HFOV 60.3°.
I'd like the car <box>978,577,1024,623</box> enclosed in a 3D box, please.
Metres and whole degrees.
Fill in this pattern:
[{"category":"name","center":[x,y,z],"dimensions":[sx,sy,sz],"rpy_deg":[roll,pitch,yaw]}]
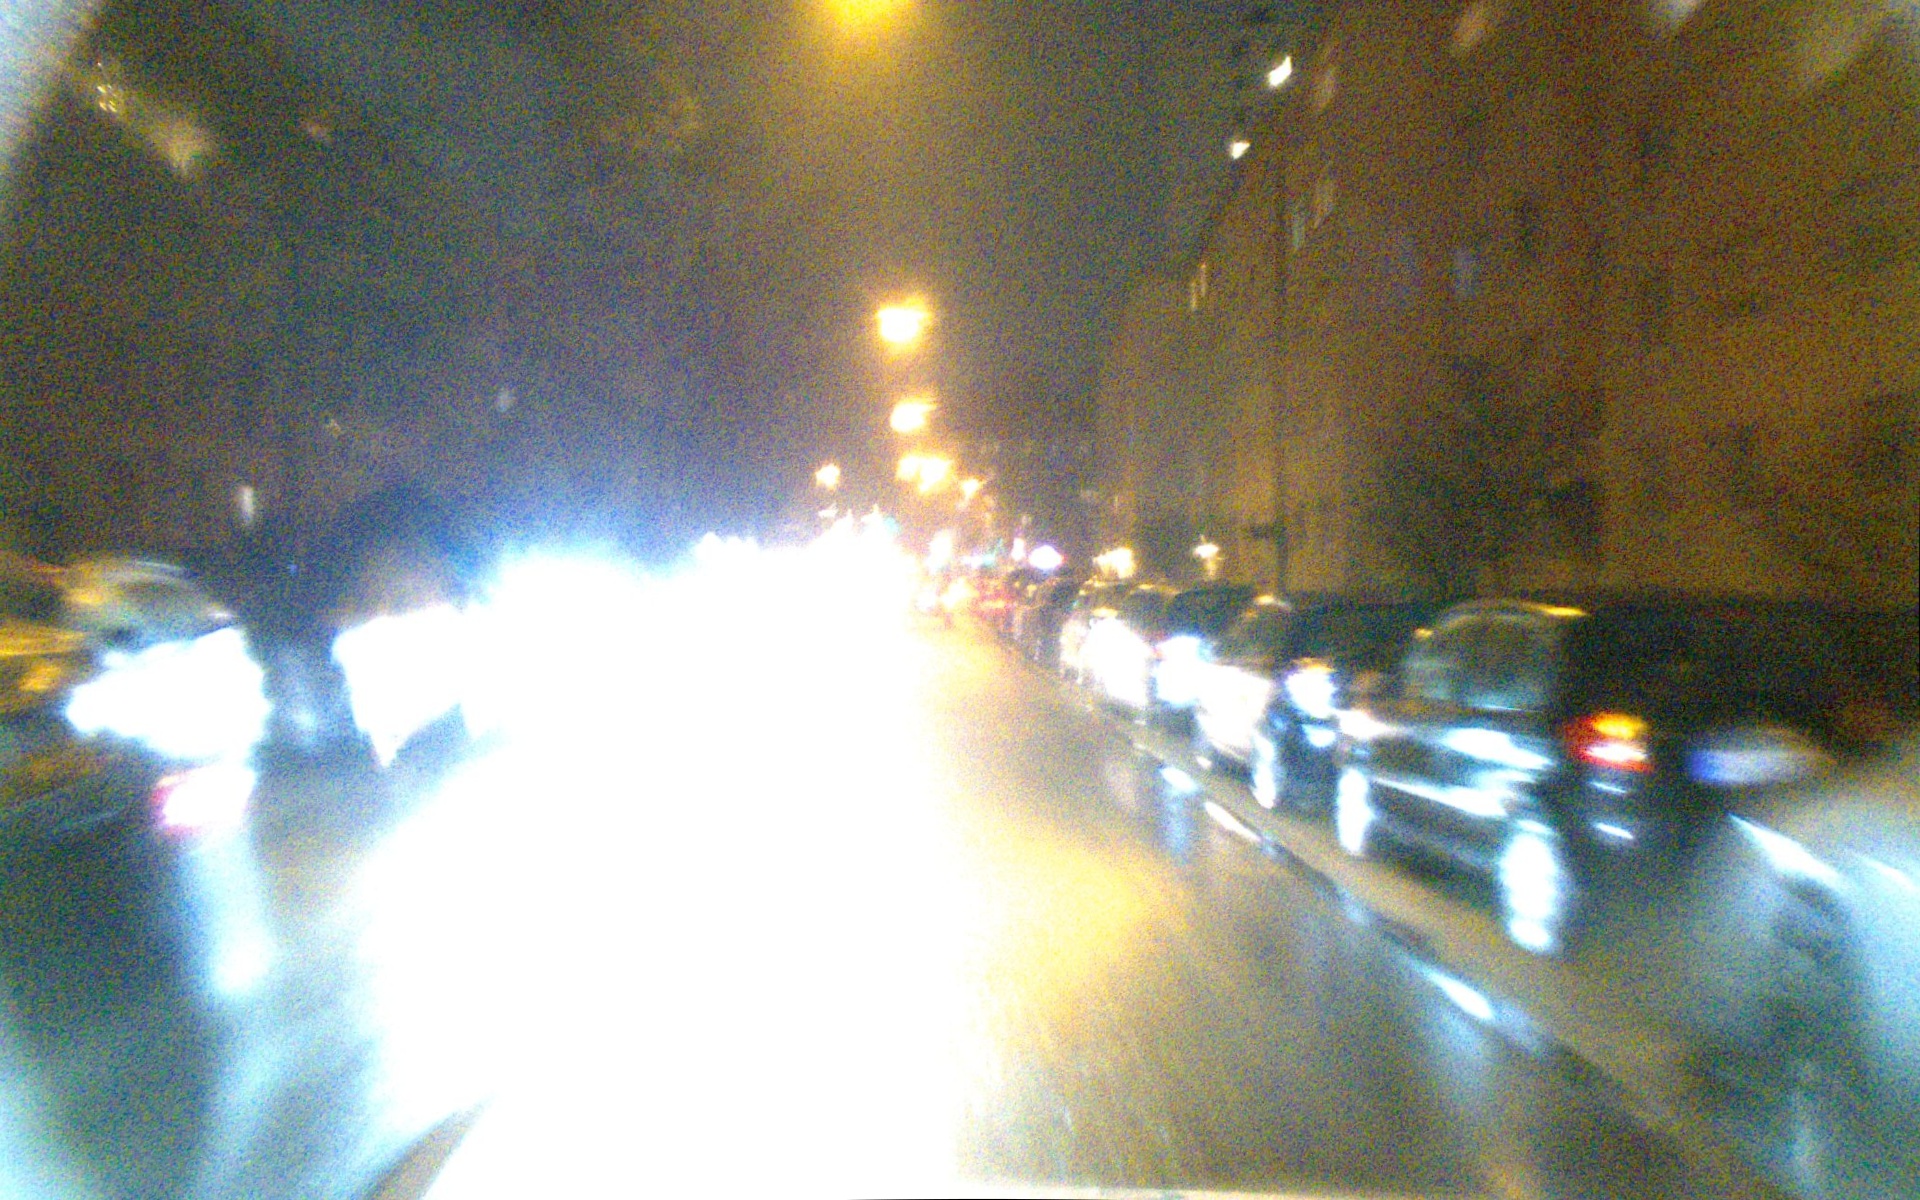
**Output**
[{"category":"car","center":[1.497,-0.014,61.506],"dimensions":[1.504,1.589,3.803],"rpy_deg":[-2,1,-1]}]

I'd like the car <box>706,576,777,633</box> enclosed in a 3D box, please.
[{"category":"car","center":[-6.406,0.104,48.849],"dimensions":[1.544,1.487,3.999],"rpy_deg":[-5,1,-2]}]

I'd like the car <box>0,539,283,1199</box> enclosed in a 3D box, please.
[{"category":"car","center":[-2.732,0.634,2.360],"dimensions":[1.820,1.486,4.522],"rpy_deg":[0,1,-2]}]

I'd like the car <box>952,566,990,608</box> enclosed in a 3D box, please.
[{"category":"car","center":[0.457,-0.577,73.136],"dimensions":[1.504,1.739,3.803],"rpy_deg":[-2,1,-1]}]

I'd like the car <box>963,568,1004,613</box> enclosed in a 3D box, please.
[{"category":"car","center":[0.938,-0.431,67.949],"dimensions":[1.504,1.739,3.803],"rpy_deg":[-2,1,-1]}]

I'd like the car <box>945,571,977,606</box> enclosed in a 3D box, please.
[{"category":"car","center":[0.025,-0.641,86.910],"dimensions":[1.504,1.739,3.803],"rpy_deg":[-2,1,-1]}]

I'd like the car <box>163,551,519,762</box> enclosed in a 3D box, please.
[{"category":"car","center":[-5.562,0.451,15.518],"dimensions":[1.724,1.598,4.450],"rpy_deg":[-3,0,-2]}]

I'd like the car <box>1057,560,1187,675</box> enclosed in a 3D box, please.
[{"category":"car","center":[2.436,0.221,25.610],"dimensions":[1.504,1.589,3.803],"rpy_deg":[-2,1,-1]}]

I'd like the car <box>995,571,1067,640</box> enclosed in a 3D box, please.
[{"category":"car","center":[1.736,0.088,41.479],"dimensions":[1.504,1.589,3.803],"rpy_deg":[-2,1,-1]}]

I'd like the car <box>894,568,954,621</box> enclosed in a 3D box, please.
[{"category":"car","center":[-1.225,-0.210,56.561],"dimensions":[1.953,1.713,4.000],"rpy_deg":[-1,1,-1]}]

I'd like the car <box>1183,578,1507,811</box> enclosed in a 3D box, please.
[{"category":"car","center":[2.729,0.579,12.499],"dimensions":[1.465,1.412,3.747],"rpy_deg":[-3,1,-1]}]

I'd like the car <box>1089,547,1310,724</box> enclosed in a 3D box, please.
[{"category":"car","center":[2.570,0.321,18.672],"dimensions":[1.784,1.702,3.999],"rpy_deg":[-2,1,-1]}]

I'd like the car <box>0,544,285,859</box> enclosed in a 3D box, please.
[{"category":"car","center":[-5.736,0.535,9.933],"dimensions":[1.580,1.598,4.451],"rpy_deg":[-3,1,-2]}]

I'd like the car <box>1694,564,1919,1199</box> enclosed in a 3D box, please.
[{"category":"car","center":[3.023,0.675,2.709],"dimensions":[1.595,1.491,4.510],"rpy_deg":[-2,1,0]}]

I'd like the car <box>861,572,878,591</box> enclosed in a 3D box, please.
[{"category":"car","center":[-8.920,-1.855,163.086],"dimensions":[1.504,1.739,3.803],"rpy_deg":[-2,1,-1]}]

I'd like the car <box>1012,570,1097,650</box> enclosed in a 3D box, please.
[{"category":"car","center":[2.007,0.176,35.897],"dimensions":[1.504,1.589,3.803],"rpy_deg":[-2,1,-1]}]

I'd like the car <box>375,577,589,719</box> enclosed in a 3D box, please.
[{"category":"car","center":[-6.086,0.548,21.500],"dimensions":[1.562,1.564,4.000],"rpy_deg":[-4,0,-1]}]

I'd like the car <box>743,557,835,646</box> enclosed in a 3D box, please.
[{"category":"car","center":[-3.650,0.017,35.852],"dimensions":[1.655,1.816,3.999],"rpy_deg":[0,0,-1]}]

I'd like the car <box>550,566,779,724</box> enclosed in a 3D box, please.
[{"category":"car","center":[-3.061,0.386,18.092],"dimensions":[1.784,1.488,4.864],"rpy_deg":[0,1,-2]}]

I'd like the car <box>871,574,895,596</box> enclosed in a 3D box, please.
[{"category":"car","center":[-6.445,-1.303,138.637],"dimensions":[1.775,1.739,3.803],"rpy_deg":[-2,1,-1]}]

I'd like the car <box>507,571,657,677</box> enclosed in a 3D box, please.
[{"category":"car","center":[-6.172,0.335,27.386],"dimensions":[1.544,1.487,3.999],"rpy_deg":[-5,1,-2]}]

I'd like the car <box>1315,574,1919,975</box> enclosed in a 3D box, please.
[{"category":"car","center":[2.992,0.628,8.084],"dimensions":[1.571,1.412,3.792],"rpy_deg":[-3,1,-1]}]
